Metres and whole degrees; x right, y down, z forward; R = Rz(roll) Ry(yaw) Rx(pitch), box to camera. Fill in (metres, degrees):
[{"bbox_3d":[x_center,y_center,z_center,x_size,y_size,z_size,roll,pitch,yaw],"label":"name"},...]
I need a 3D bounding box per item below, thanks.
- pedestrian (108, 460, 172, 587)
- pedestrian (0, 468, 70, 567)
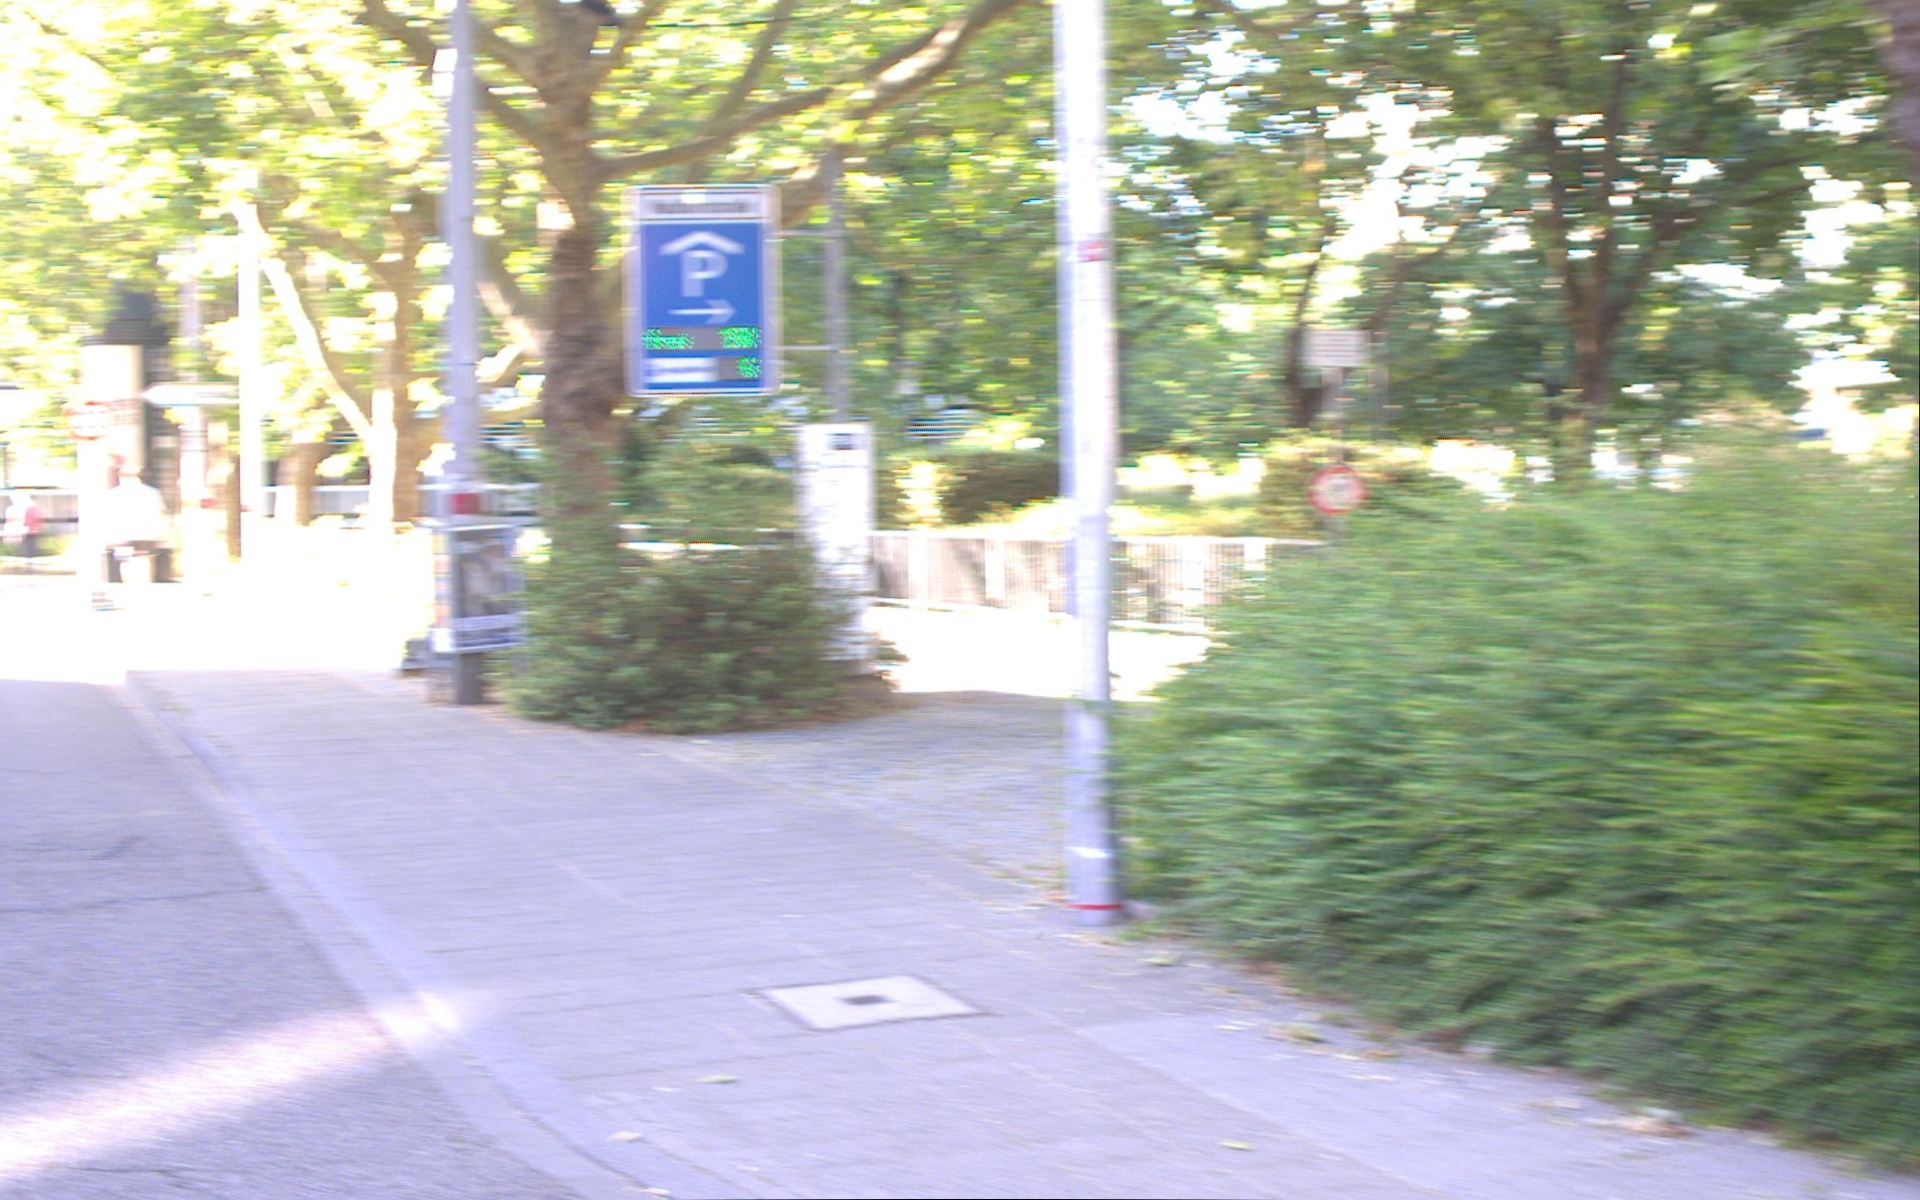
[{"bbox_3d":[-11.957,-1.131,50.101,0.745,1.806,1.134,-1,3,-21],"label":"pedestrian"},{"bbox_3d":[-15.399,-1.371,57.199,0.938,1.617,0.709,0,2,42],"label":"pedestrian"}]
